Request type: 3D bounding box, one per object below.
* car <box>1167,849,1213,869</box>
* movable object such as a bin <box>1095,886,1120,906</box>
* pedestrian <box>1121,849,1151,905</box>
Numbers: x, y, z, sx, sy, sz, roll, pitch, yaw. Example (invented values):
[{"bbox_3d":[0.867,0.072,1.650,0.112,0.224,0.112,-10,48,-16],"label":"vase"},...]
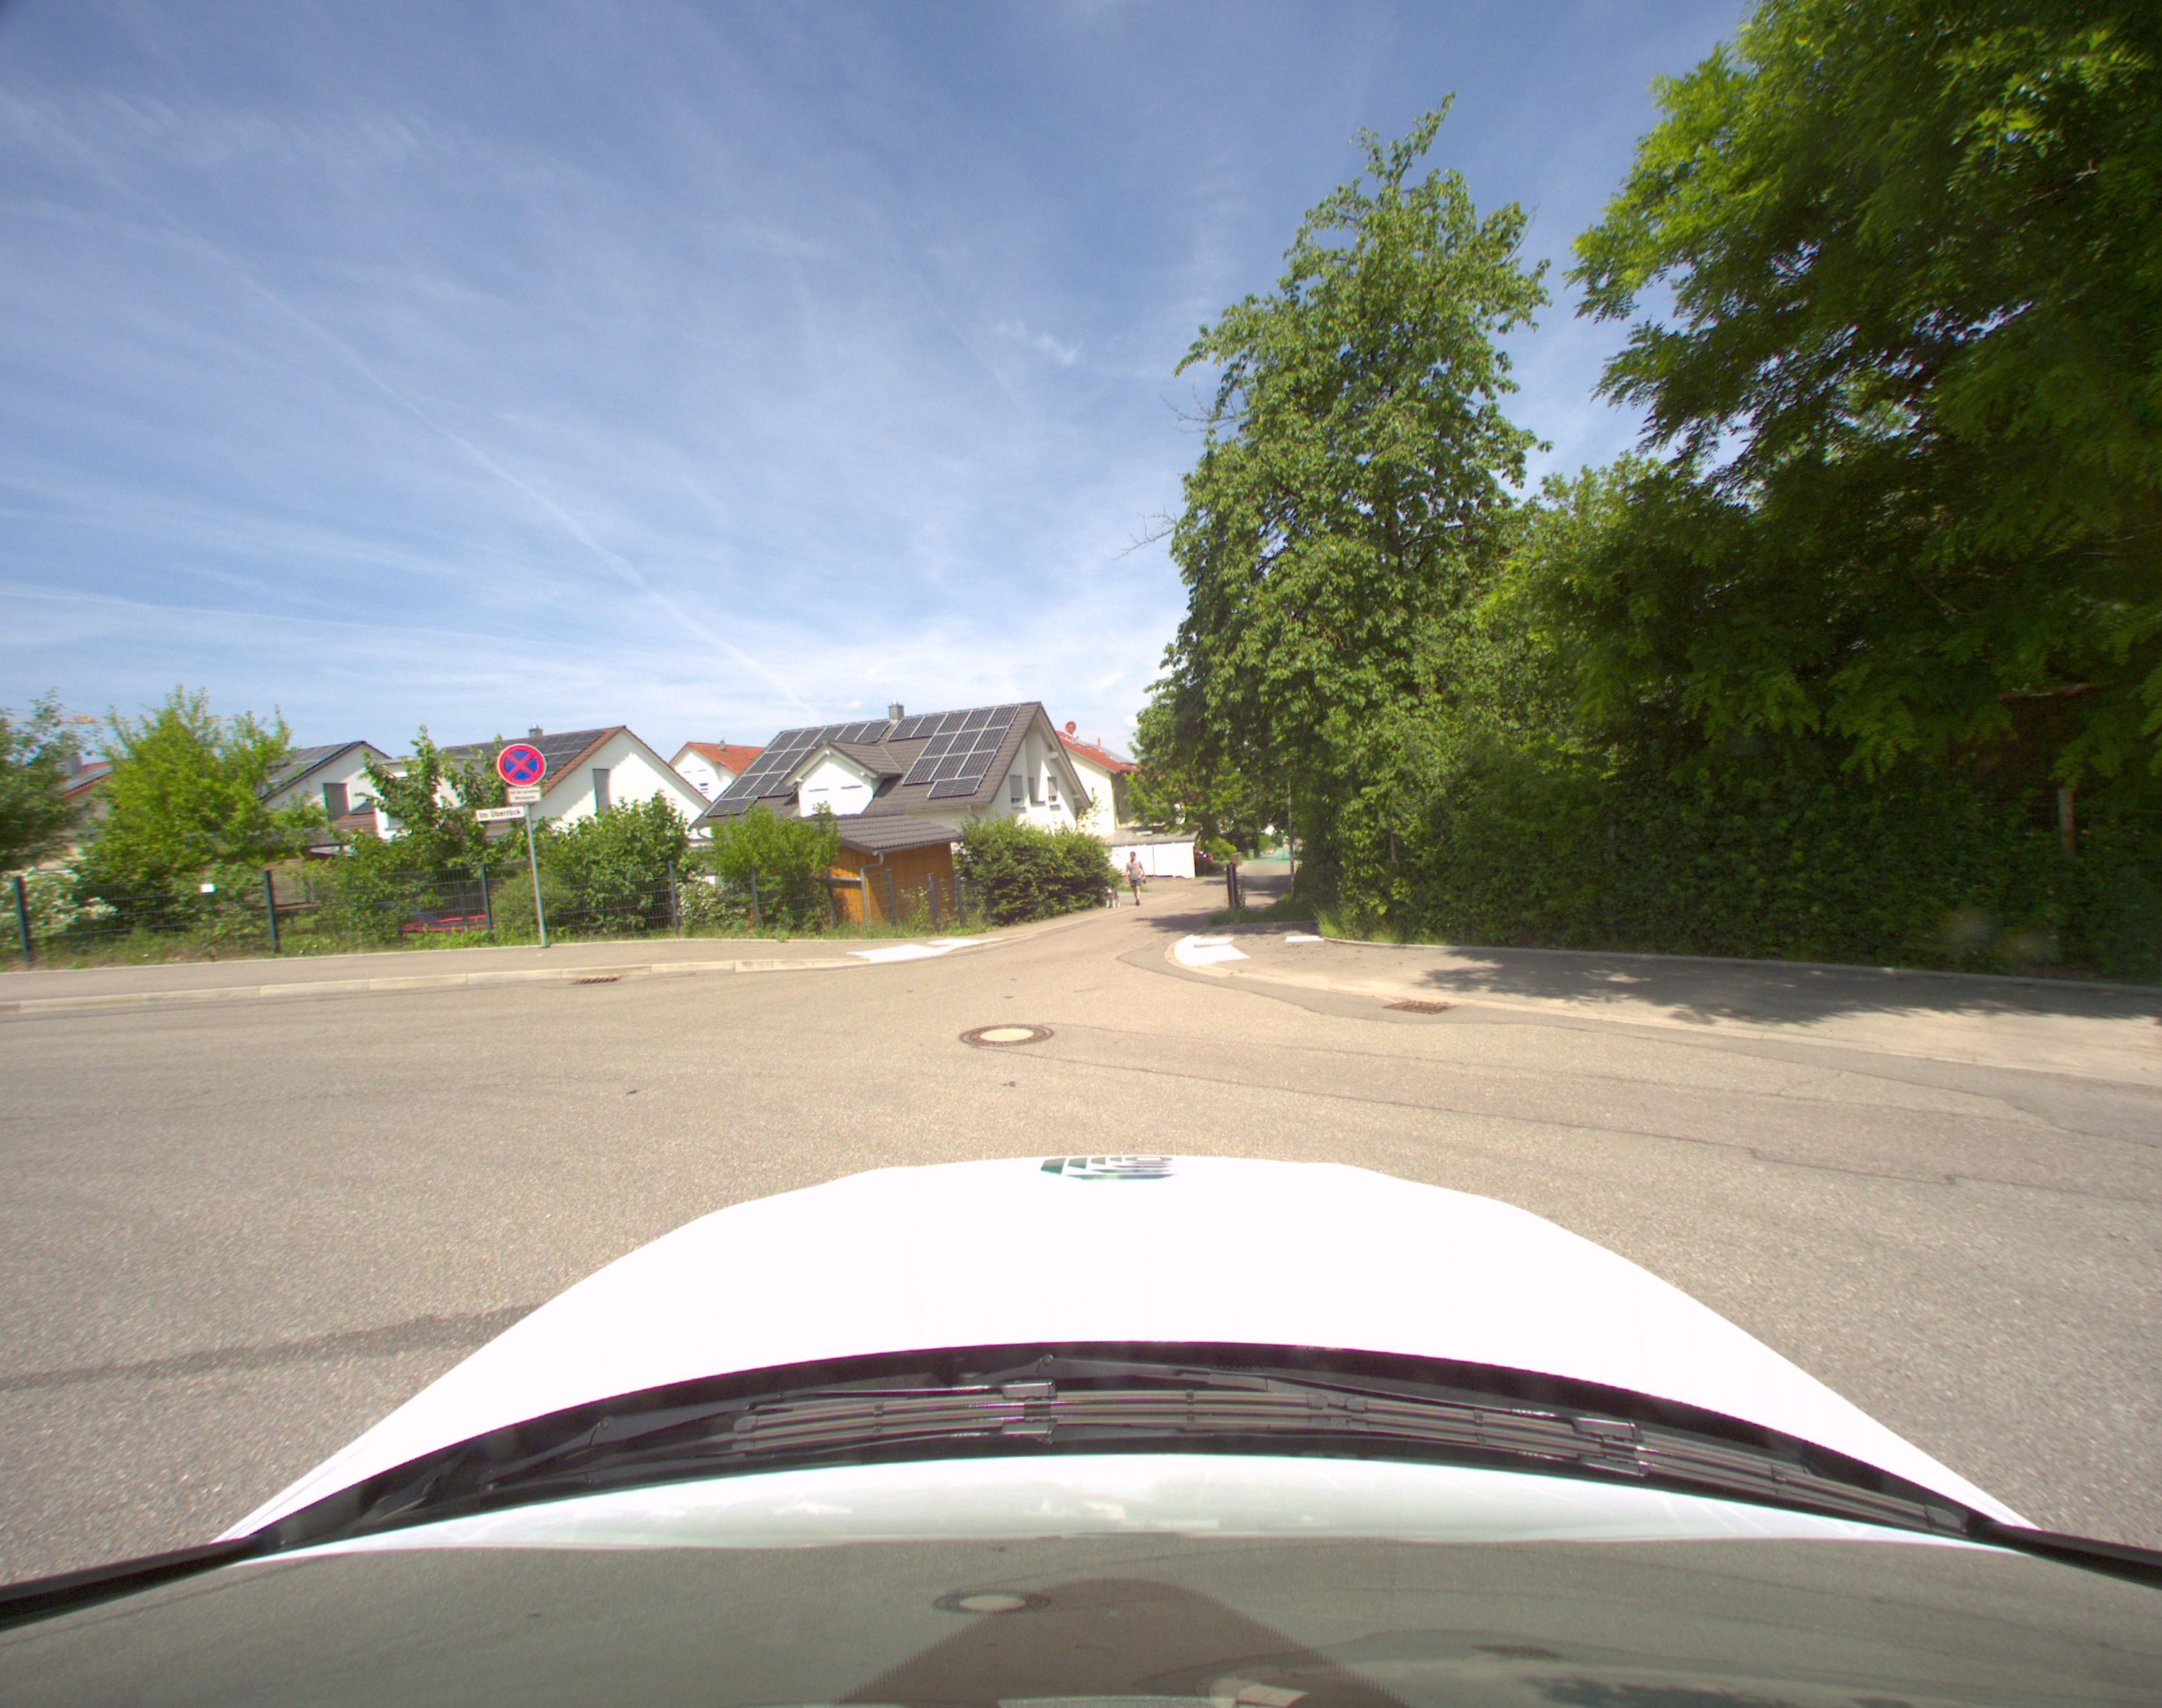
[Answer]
[{"bbox_3d":[8.187,0.367,61.396,3.398,1.420,1.589,-1,2,6],"label":"car"},{"bbox_3d":[0.876,1.362,26.467,0.543,0.629,1.025,-2,-2,17],"label":"movable object such as a bin"},{"bbox_3d":[1.855,0.782,27.428,0.840,1.820,0.837,-2,-4,11],"label":"pedestrian"}]
